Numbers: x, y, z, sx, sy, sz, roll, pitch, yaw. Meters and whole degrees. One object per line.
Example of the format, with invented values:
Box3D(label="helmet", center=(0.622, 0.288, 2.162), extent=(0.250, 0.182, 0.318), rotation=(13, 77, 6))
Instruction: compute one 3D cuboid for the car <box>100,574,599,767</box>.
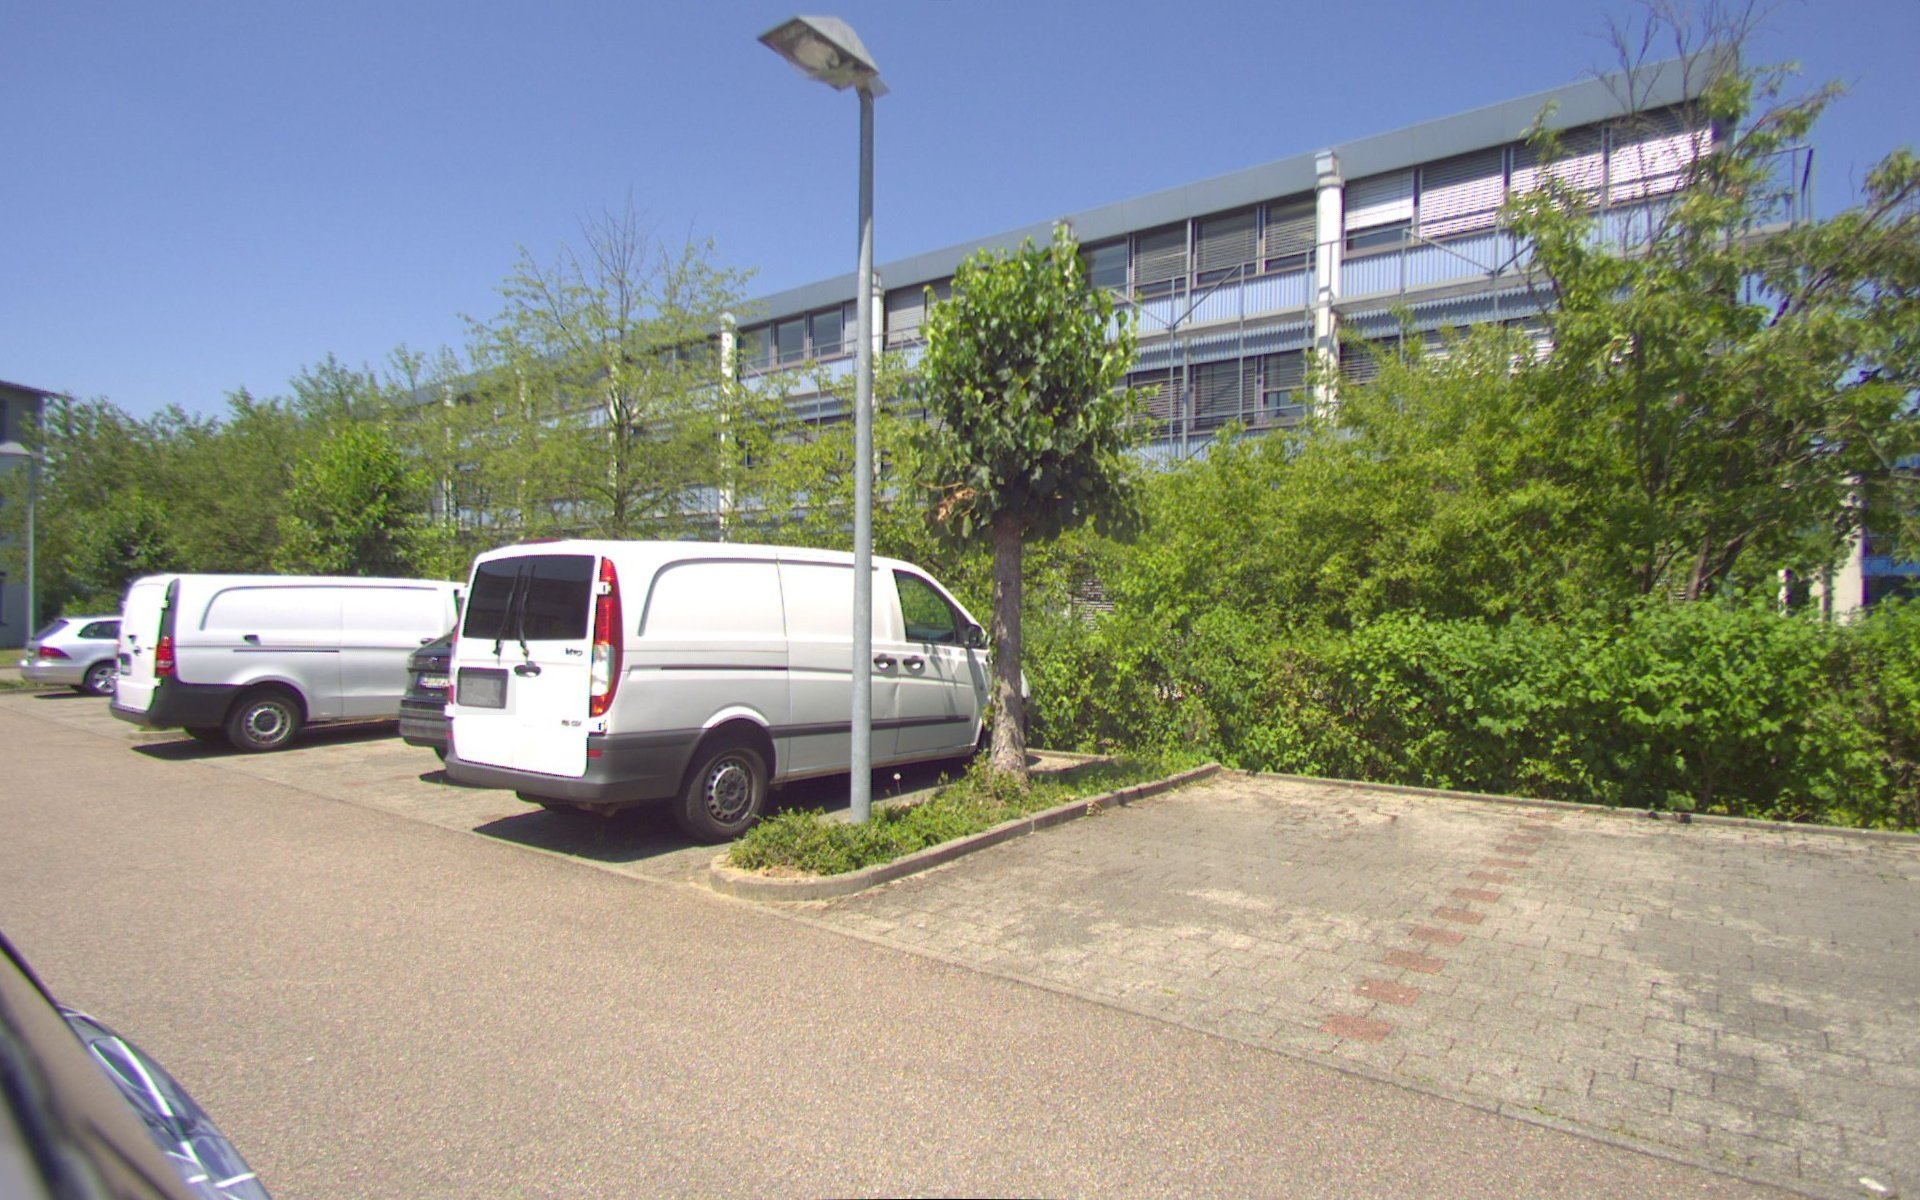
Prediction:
Box3D(label="car", center=(-7.084, 0.713, 12.277), extent=(1.855, 1.870, 4.870), rotation=(-2, -1, 39))

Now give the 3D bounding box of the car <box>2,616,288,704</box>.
Box3D(label="car", center=(-15.483, 1.066, 19.406), extent=(1.738, 1.495, 4.030), rotation=(-2, -1, 40))

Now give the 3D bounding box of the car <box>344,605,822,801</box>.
Box3D(label="car", center=(-3.436, 0.822, 9.943), extent=(1.737, 1.495, 4.146), rotation=(-1, -1, 37))

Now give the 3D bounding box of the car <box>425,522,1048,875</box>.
Box3D(label="car", center=(-1.331, 0.558, 7.802), extent=(1.865, 1.874, 4.619), rotation=(-1, -1, 37))
